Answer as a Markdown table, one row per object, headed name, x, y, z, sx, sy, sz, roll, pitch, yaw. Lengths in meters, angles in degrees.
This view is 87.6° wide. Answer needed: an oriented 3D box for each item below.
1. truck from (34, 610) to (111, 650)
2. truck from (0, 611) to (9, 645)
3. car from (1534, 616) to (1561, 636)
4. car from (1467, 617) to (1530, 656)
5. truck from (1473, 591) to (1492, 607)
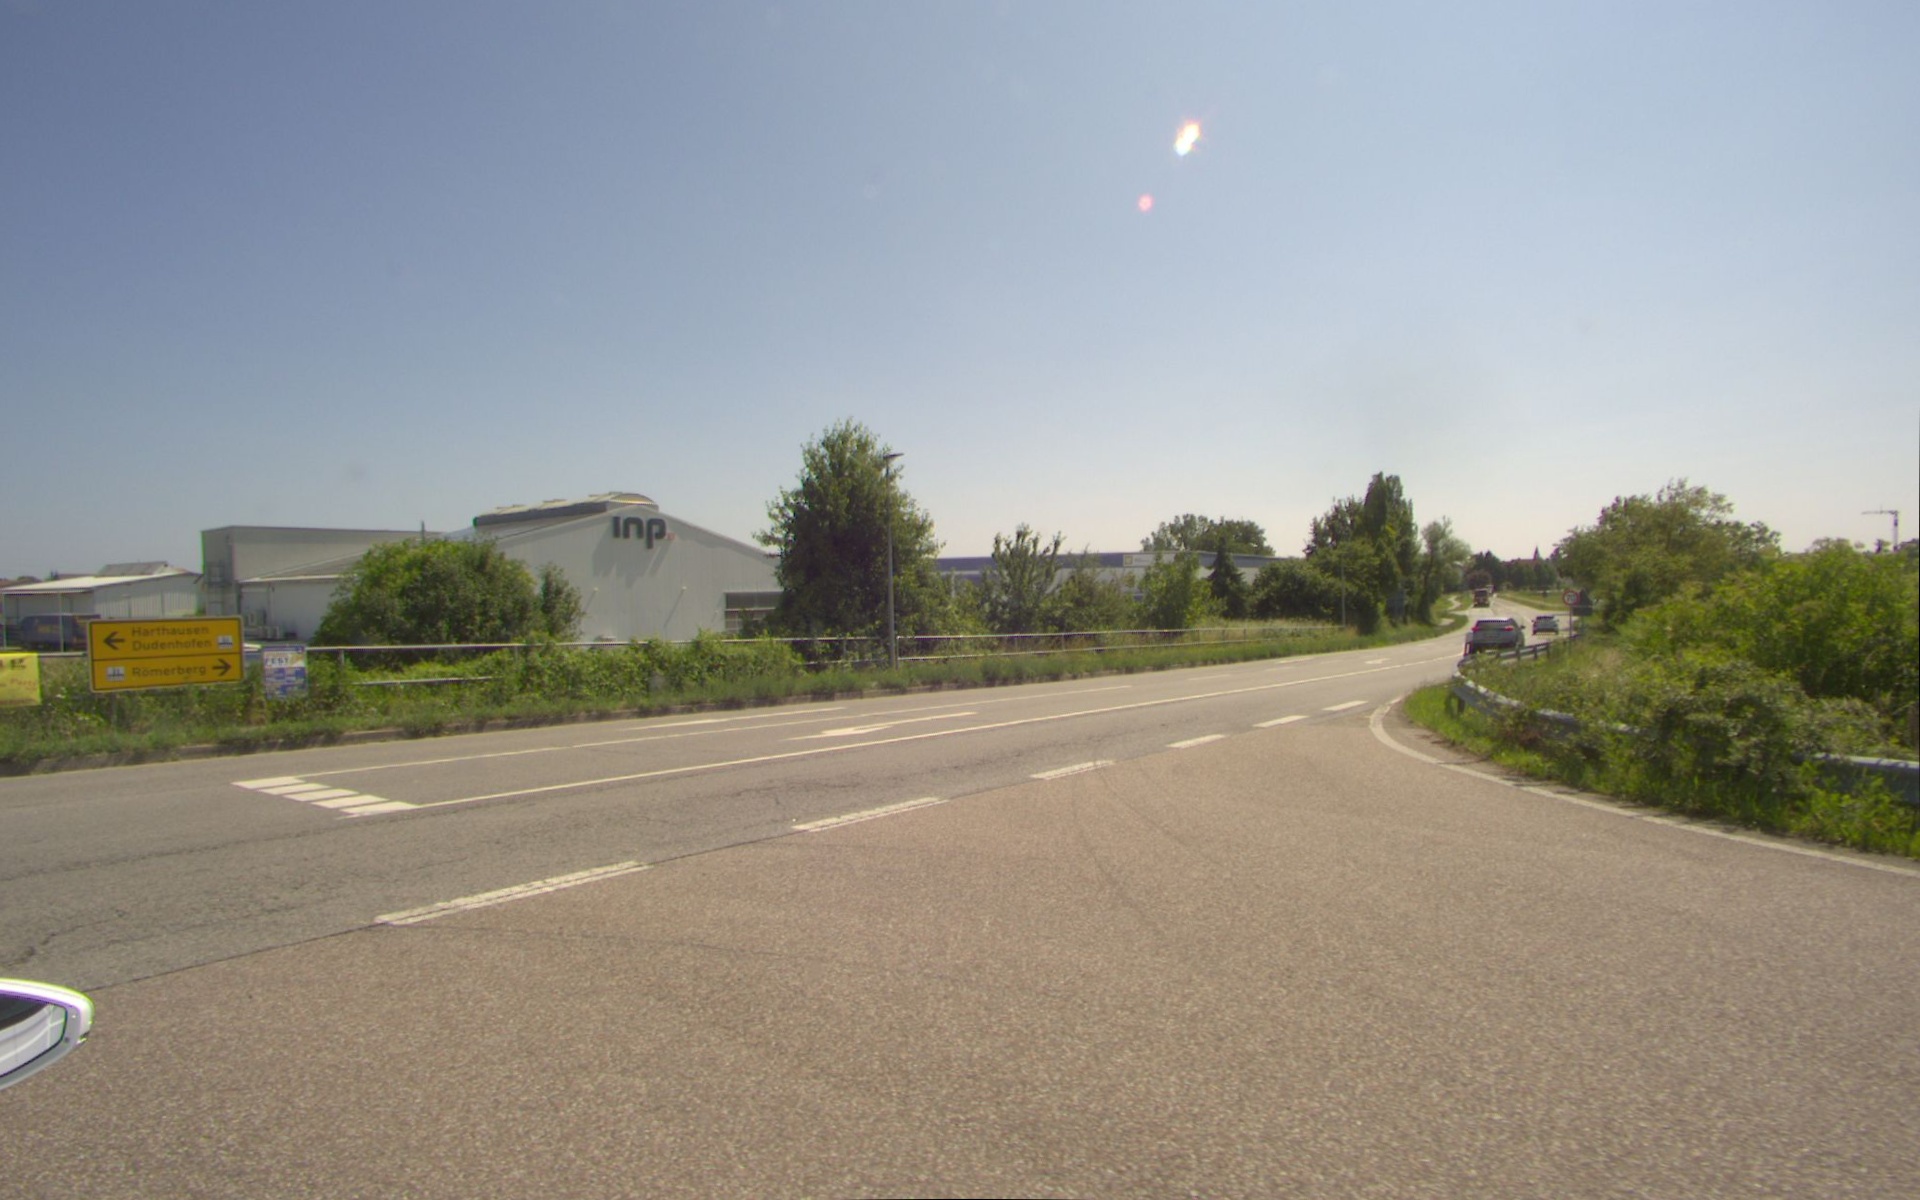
| name | x | y | z | sx | sy | sz | roll | pitch | yaw |
| --- | --- | --- | --- | --- | --- | --- | --- | --- | --- |
| truck | -102.578 | 3.431 | 115.633 | 13.163 | 4.367 | 3.698 | -1 | -1 | 35 |
| truck | -131.485 | 3.713 | 133.878 | 14.392 | 4.367 | 3.403 | -1 | -1 | 34 |
| car | 46.835 | 2.055 | 79.852 | 1.507 | 1.593 | 3.645 | -1 | -1 | 36 |
| car | 23.561 | 1.584 | 43.745 | 1.775 | 1.603 | 4.461 | -1 | -2 | 37 |
| truck | 92.563 | -0.211 | 177.409 | 2.819 | 2.824 | 6.929 | -1 | 0 | 28 |
